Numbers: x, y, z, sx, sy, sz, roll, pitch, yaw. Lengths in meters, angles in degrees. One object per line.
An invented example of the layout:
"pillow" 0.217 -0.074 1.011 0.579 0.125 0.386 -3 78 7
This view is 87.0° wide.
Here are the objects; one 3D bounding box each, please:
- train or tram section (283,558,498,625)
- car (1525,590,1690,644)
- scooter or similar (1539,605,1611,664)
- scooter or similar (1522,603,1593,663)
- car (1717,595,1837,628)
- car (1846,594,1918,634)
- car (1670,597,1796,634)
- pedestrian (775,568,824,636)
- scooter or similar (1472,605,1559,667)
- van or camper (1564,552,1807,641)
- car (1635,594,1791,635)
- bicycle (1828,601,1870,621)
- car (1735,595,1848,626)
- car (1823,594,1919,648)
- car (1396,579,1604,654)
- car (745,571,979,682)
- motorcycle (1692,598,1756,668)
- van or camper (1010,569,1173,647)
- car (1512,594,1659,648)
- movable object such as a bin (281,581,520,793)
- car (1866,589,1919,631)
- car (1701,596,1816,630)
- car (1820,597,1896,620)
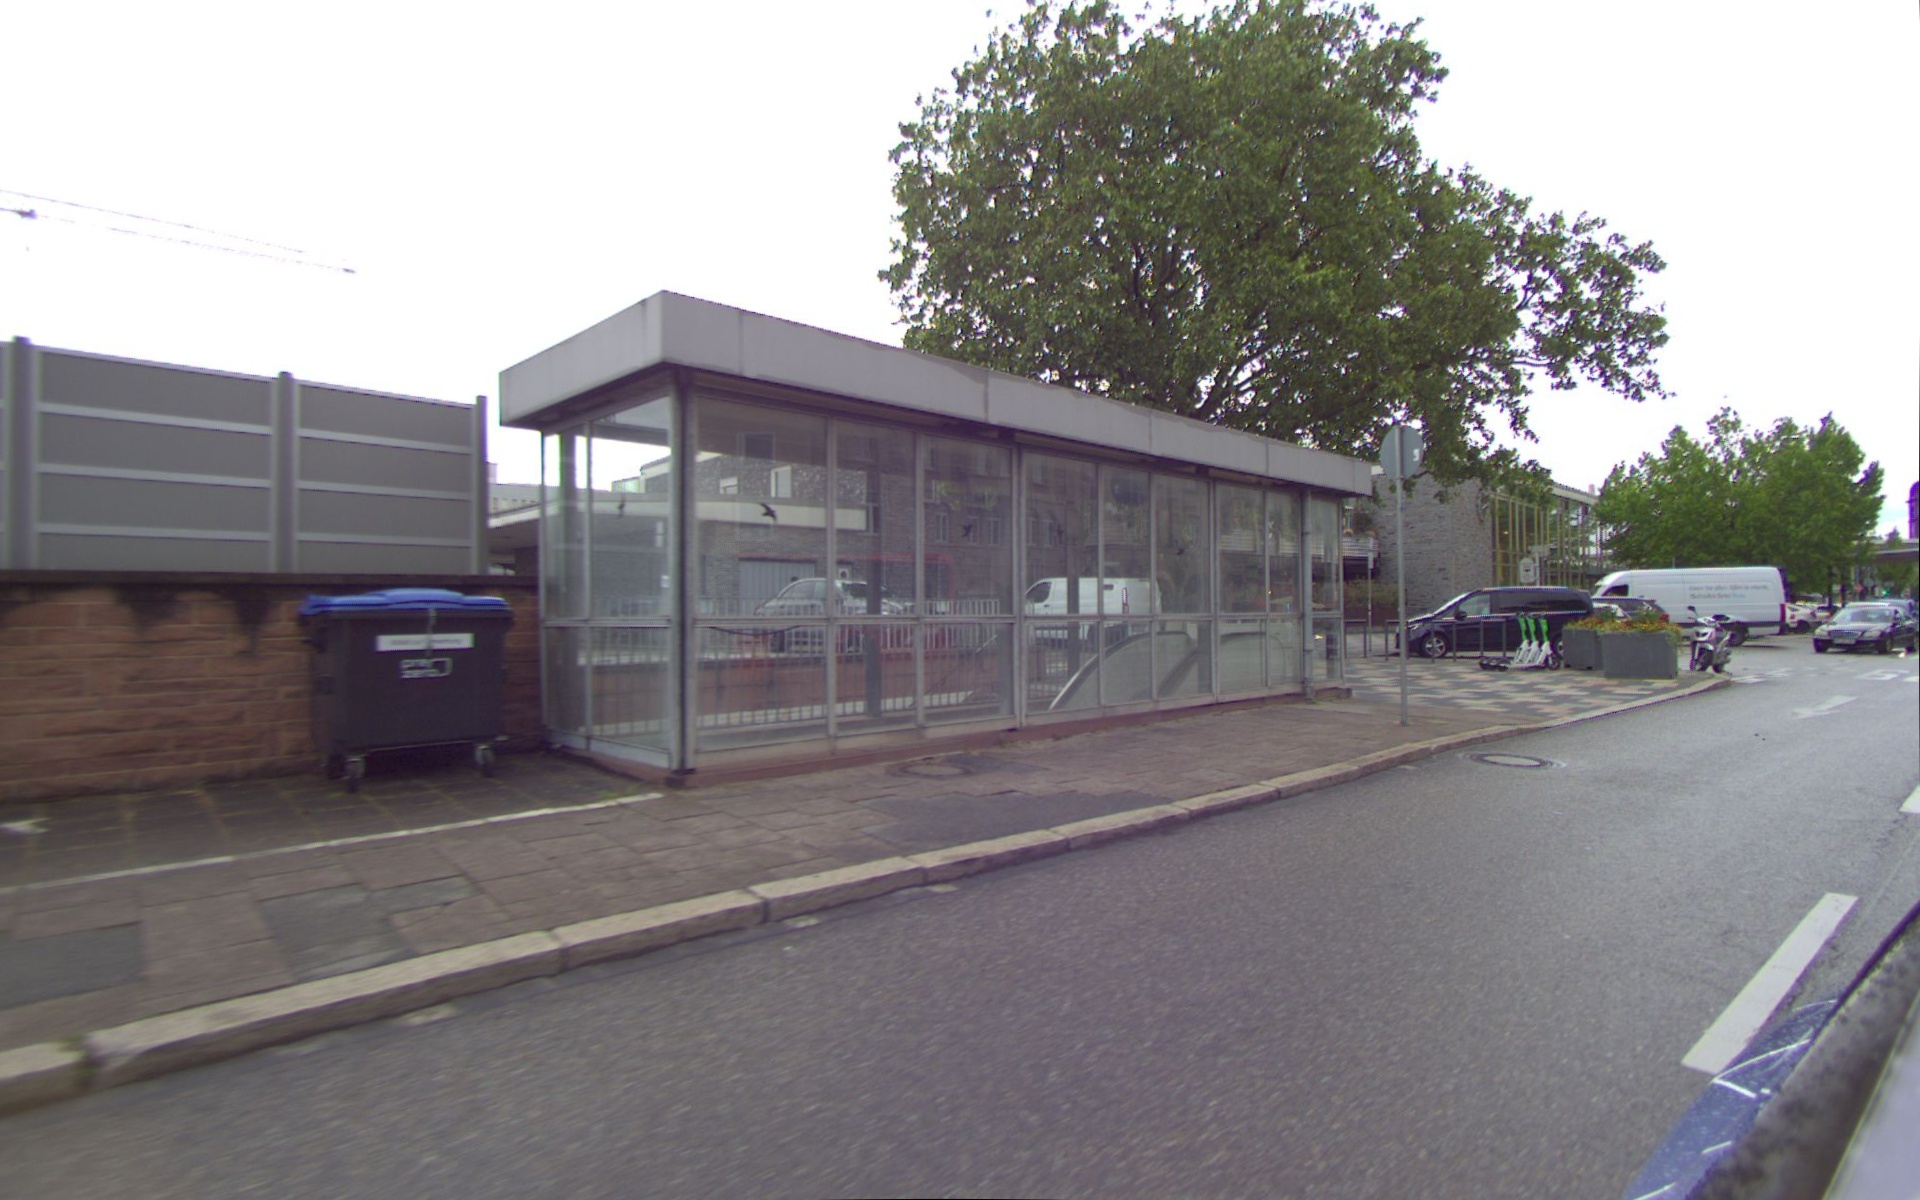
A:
"train or tram section" -33.273 -0.528 59.634 2.740 3.648 10.755 0 0 44
"car" 20.999 0.521 33.026 4.183 1.655 1.872 1 0 20
"scooter or similar" 12.271 0.685 20.200 1.237 1.170 0.415 0 -2 -10
"scooter or similar" 12.187 0.665 20.641 1.237 1.170 0.415 -1 -2 -10
"car" 37.438 0.519 46.467 3.881 1.417 1.768 1 0 20
"car" 36.275 0.527 39.791 3.525 1.493 1.660 0 0 -40
"car" 31.157 0.585 40.905 3.643 1.417 1.768 1 0 20
"pedestrian" -4.316 0.053 27.199 0.980 1.770 0.878 0 0 -41
"scooter or similar" 11.381 0.710 20.728 1.638 1.170 1.066 -1 0 -41
"van or camper" 25.105 -0.157 35.367 6.445 2.906 2.266 1 0 19
"car" 28.916 0.520 39.022 4.412 1.490 1.908 1 0 19
"bicycle" 47.886 0.589 54.514 1.690 1.059 0.524 0 0 7
"car" 40.061 0.501 48.880 3.893 1.417 1.763 1 0 27
"car" 27.456 0.592 30.290 3.757 1.493 1.871 0 0 -40
"car" 14.517 0.407 27.542 4.635 1.898 2.098 1 0 17
"car" -2.024 0.424 19.777 2.075 1.898 4.686 0 0 -45
"motorcycle" 15.584 0.643 20.618 2.072 1.369 0.644 0 0 -41
"van or camper" 3.642 0.179 28.517 1.987 2.015 4.282 0 1 -43
"car" 18.968 0.593 30.879 3.549 1.543 1.749 1 0 23
"movable object such as a bin" -4.029 0.547 7.301 1.295 1.355 1.035 0 0 -44
"car" 40.490 0.415 43.409 4.337 1.704 1.823 0 0 -40
"car" 35.143 0.541 44.658 3.574 1.417 1.768 1 0 20
"car" 61.836 0.544 69.756 1.789 1.510 4.153 0 0 5
